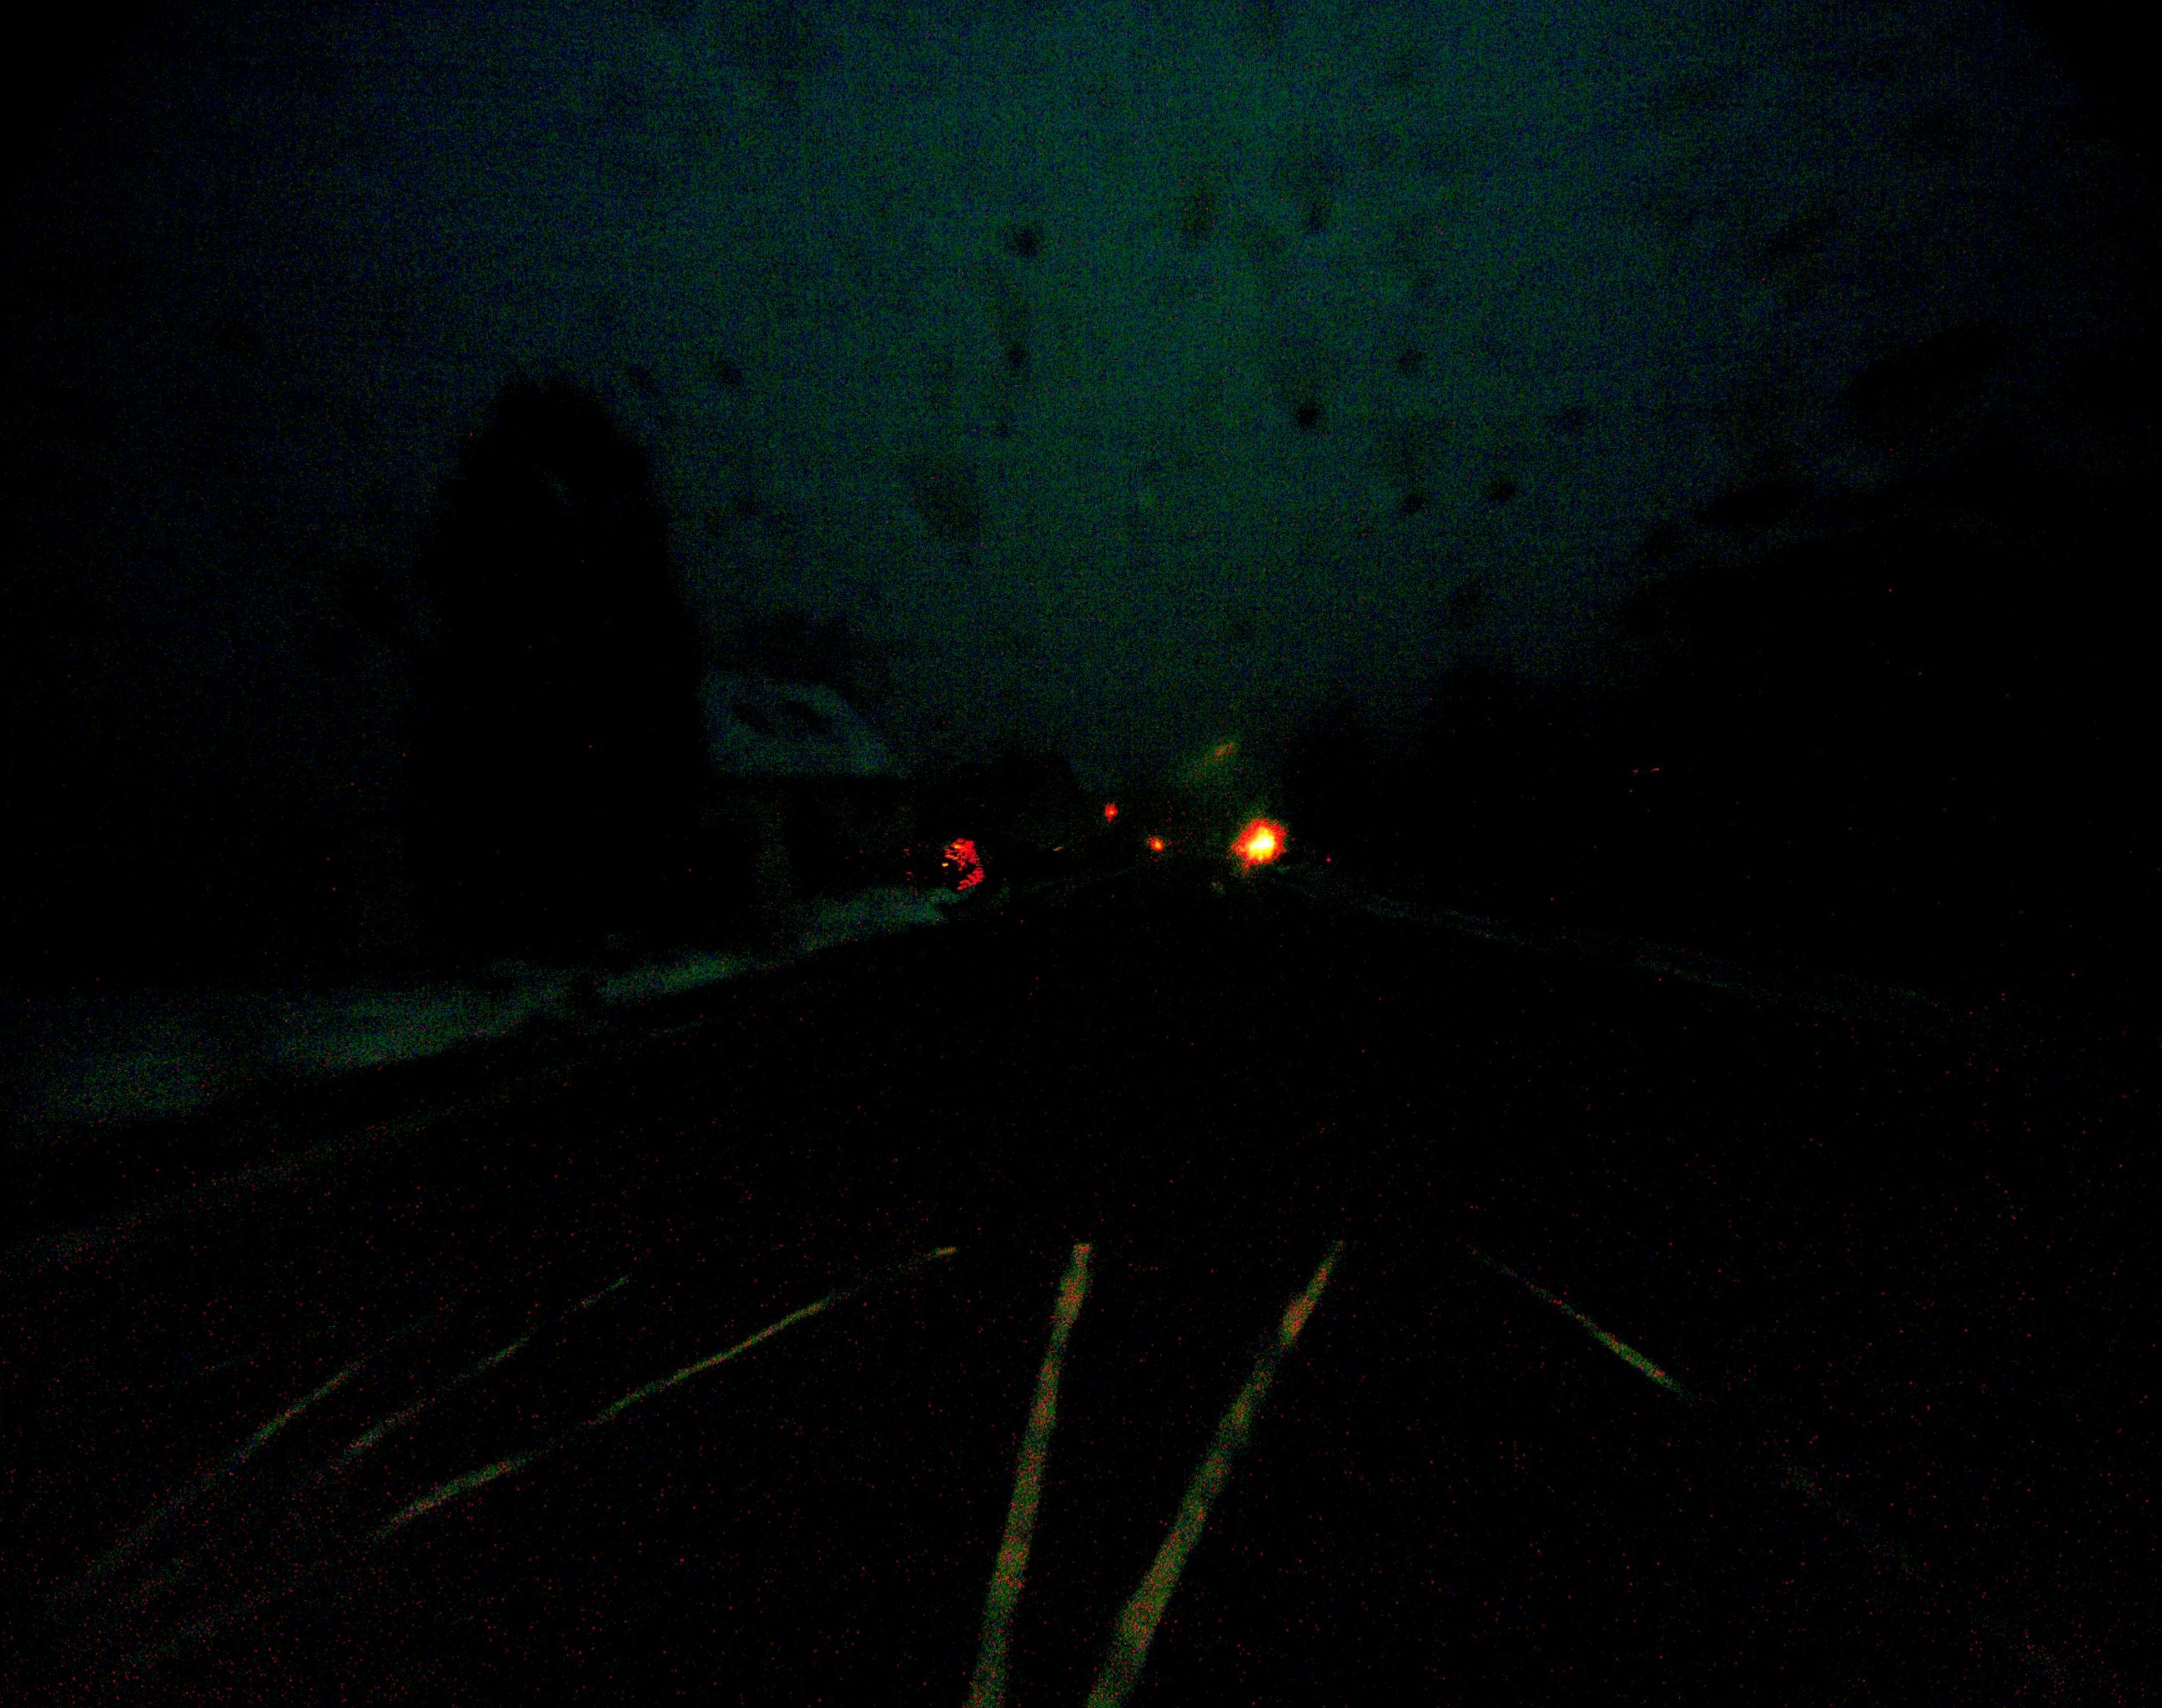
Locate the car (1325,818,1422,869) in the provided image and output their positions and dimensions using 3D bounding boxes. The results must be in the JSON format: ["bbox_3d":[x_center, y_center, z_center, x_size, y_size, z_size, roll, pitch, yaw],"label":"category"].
[{"bbox_3d":[13.792,-0.494,35.875,3.993,1.599,1.905,-11,0,23],"label":"car"}]

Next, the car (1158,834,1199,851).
[{"bbox_3d":[11.262,-1.401,87.712,4.207,1.848,1.914,1,4,31],"label":"car"}]
